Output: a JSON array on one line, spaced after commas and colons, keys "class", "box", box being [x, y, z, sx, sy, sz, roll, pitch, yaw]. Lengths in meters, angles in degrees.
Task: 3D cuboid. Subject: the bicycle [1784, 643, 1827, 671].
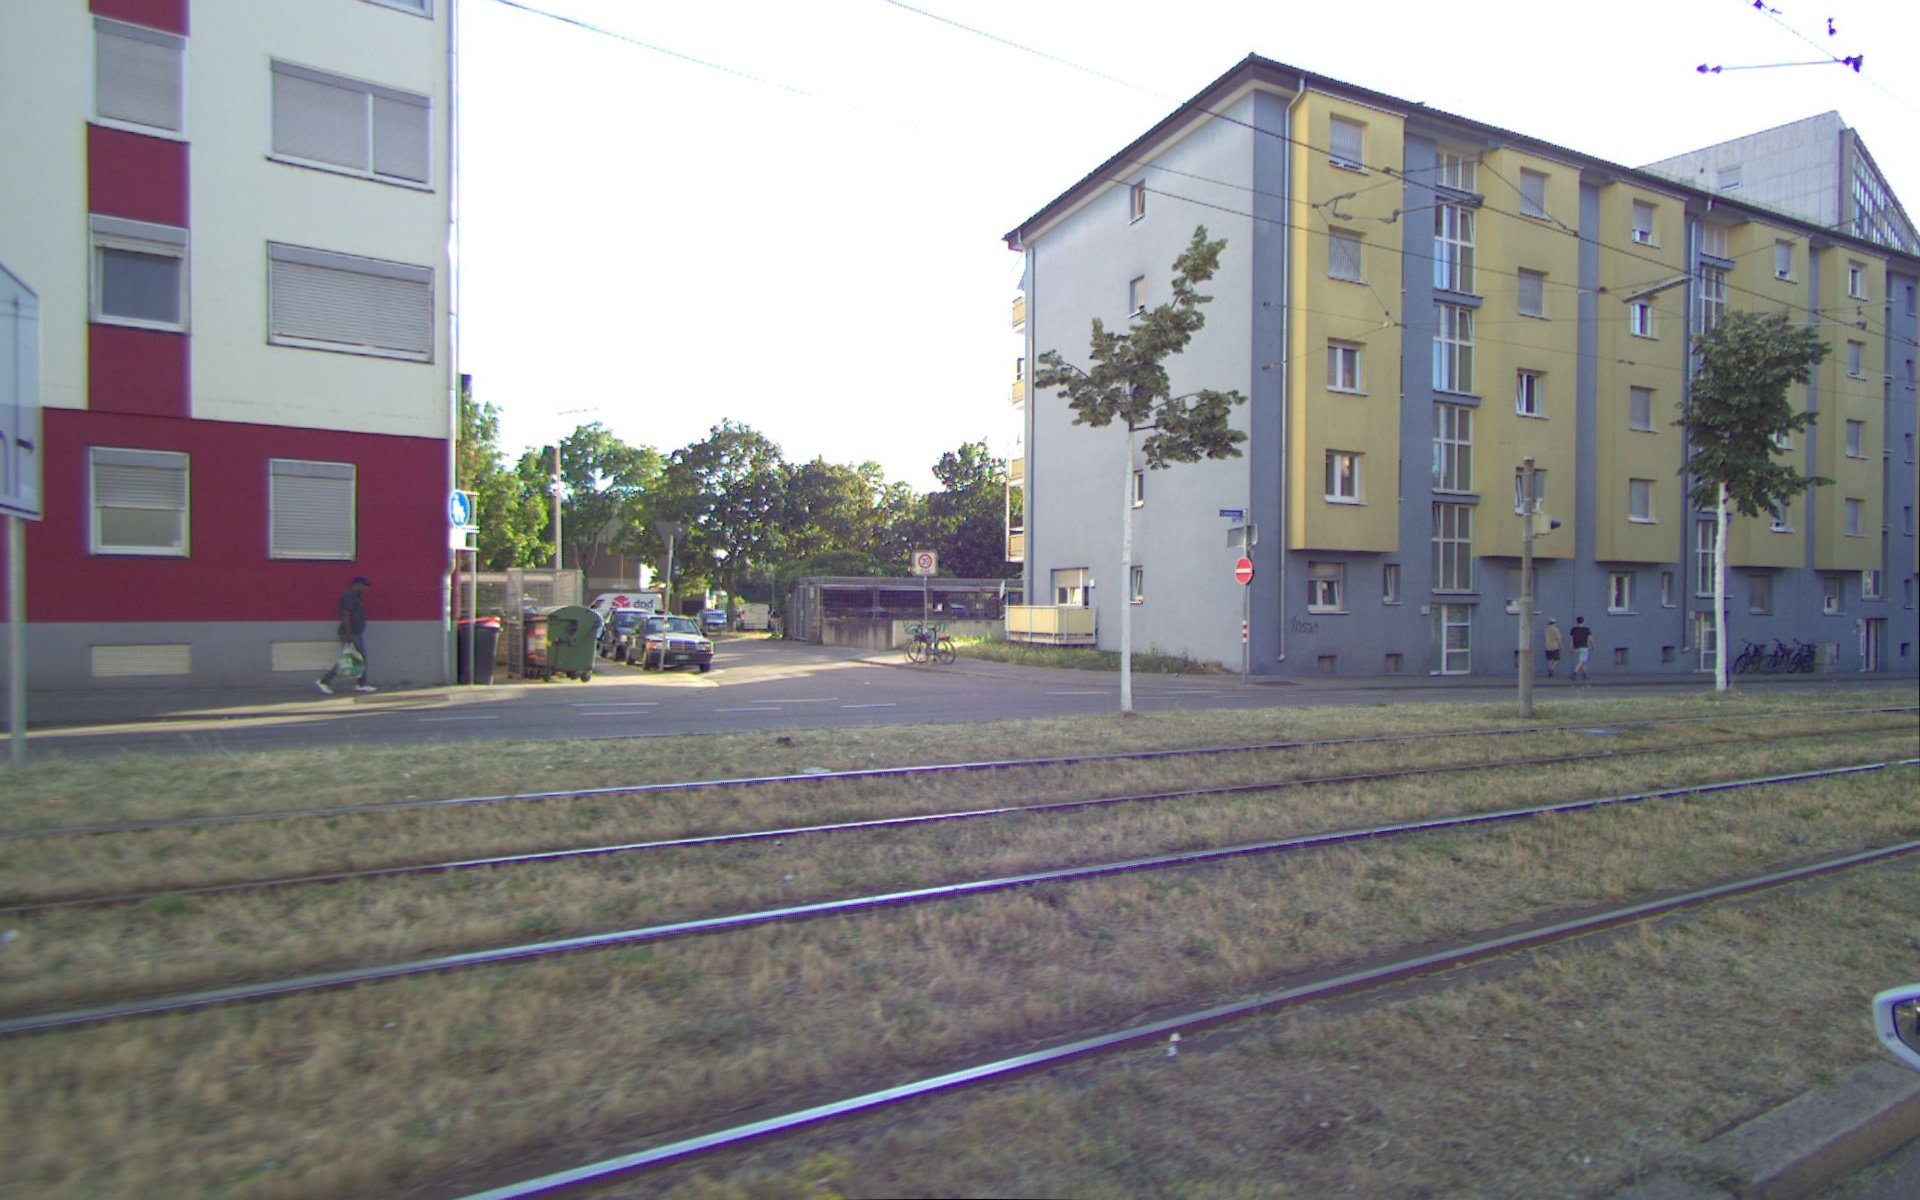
[{"class": "bicycle", "box": [30.000, 2.012, 35.644, 1.886, 0.972, 0.426, 1, -1, -26]}]

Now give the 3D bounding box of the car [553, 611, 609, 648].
[{"class": "car", "box": [-14.431, 1.085, 38.133, 1.679, 1.321, 3.539, 1, -1, -26]}]

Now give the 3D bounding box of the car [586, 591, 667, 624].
[{"class": "car", "box": [-27.629, 0.616, 83.405, 6.111, 2.586, 2.311, 1, 0, -13]}]

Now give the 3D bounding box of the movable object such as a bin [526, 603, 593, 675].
[{"class": "movable object such as a bin", "box": [-8.347, 0.802, 20.911, 1.095, 1.434, 1.210, 1, 0, -31]}]

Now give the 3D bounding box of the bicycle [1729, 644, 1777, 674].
[{"class": "bicycle", "box": [26.783, 1.988, 33.923, 1.886, 0.937, 0.425, 1, 3, -26]}]

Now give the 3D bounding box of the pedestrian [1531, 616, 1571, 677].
[{"class": "pedestrian", "box": [17.208, 1.346, 29.241, 0.697, 1.718, 0.614, 0, 4, -27]}]

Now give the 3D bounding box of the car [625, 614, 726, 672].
[{"class": "car", "box": [-7.384, 1.064, 25.850, 1.681, 1.311, 3.845, 1, 0, -29]}]

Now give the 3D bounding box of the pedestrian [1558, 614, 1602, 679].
[{"class": "pedestrian", "box": [17.704, 1.317, 28.703, 0.874, 1.797, 0.590, 0, 4, -27]}]

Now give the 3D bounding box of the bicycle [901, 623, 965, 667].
[{"class": "bicycle", "box": [-0.748, 1.197, 27.232, 0.599, 1.090, 1.936, -3, 2, -43]}]

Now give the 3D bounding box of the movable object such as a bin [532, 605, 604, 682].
[{"class": "movable object such as a bin", "box": [-7.679, 0.836, 19.669, 1.125, 1.434, 1.210, 1, 0, -31]}]

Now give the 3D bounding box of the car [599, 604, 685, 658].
[{"class": "car", "box": [-9.813, 0.922, 30.778, 1.875, 1.528, 3.972, 1, -1, -27]}]

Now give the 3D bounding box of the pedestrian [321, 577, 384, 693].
[{"class": "pedestrian", "box": [-9.230, 0.519, 15.271, 0.783, 1.712, 0.610, 1, 0, -32]}]

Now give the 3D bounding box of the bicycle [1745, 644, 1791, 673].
[{"class": "bicycle", "box": [27.848, 2.011, 34.609, 1.886, 0.937, 0.425, 1, 3, -26]}]

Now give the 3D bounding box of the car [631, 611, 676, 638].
[{"class": "car", "box": [-16.319, 1.265, 53.323, 1.623, 1.349, 3.972, 1, -1, -27]}]

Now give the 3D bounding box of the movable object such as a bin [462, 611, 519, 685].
[{"class": "movable object such as a bin", "box": [-8.128, 0.815, 17.391, 0.797, 1.242, 0.862, 1, 0, -31]}]
